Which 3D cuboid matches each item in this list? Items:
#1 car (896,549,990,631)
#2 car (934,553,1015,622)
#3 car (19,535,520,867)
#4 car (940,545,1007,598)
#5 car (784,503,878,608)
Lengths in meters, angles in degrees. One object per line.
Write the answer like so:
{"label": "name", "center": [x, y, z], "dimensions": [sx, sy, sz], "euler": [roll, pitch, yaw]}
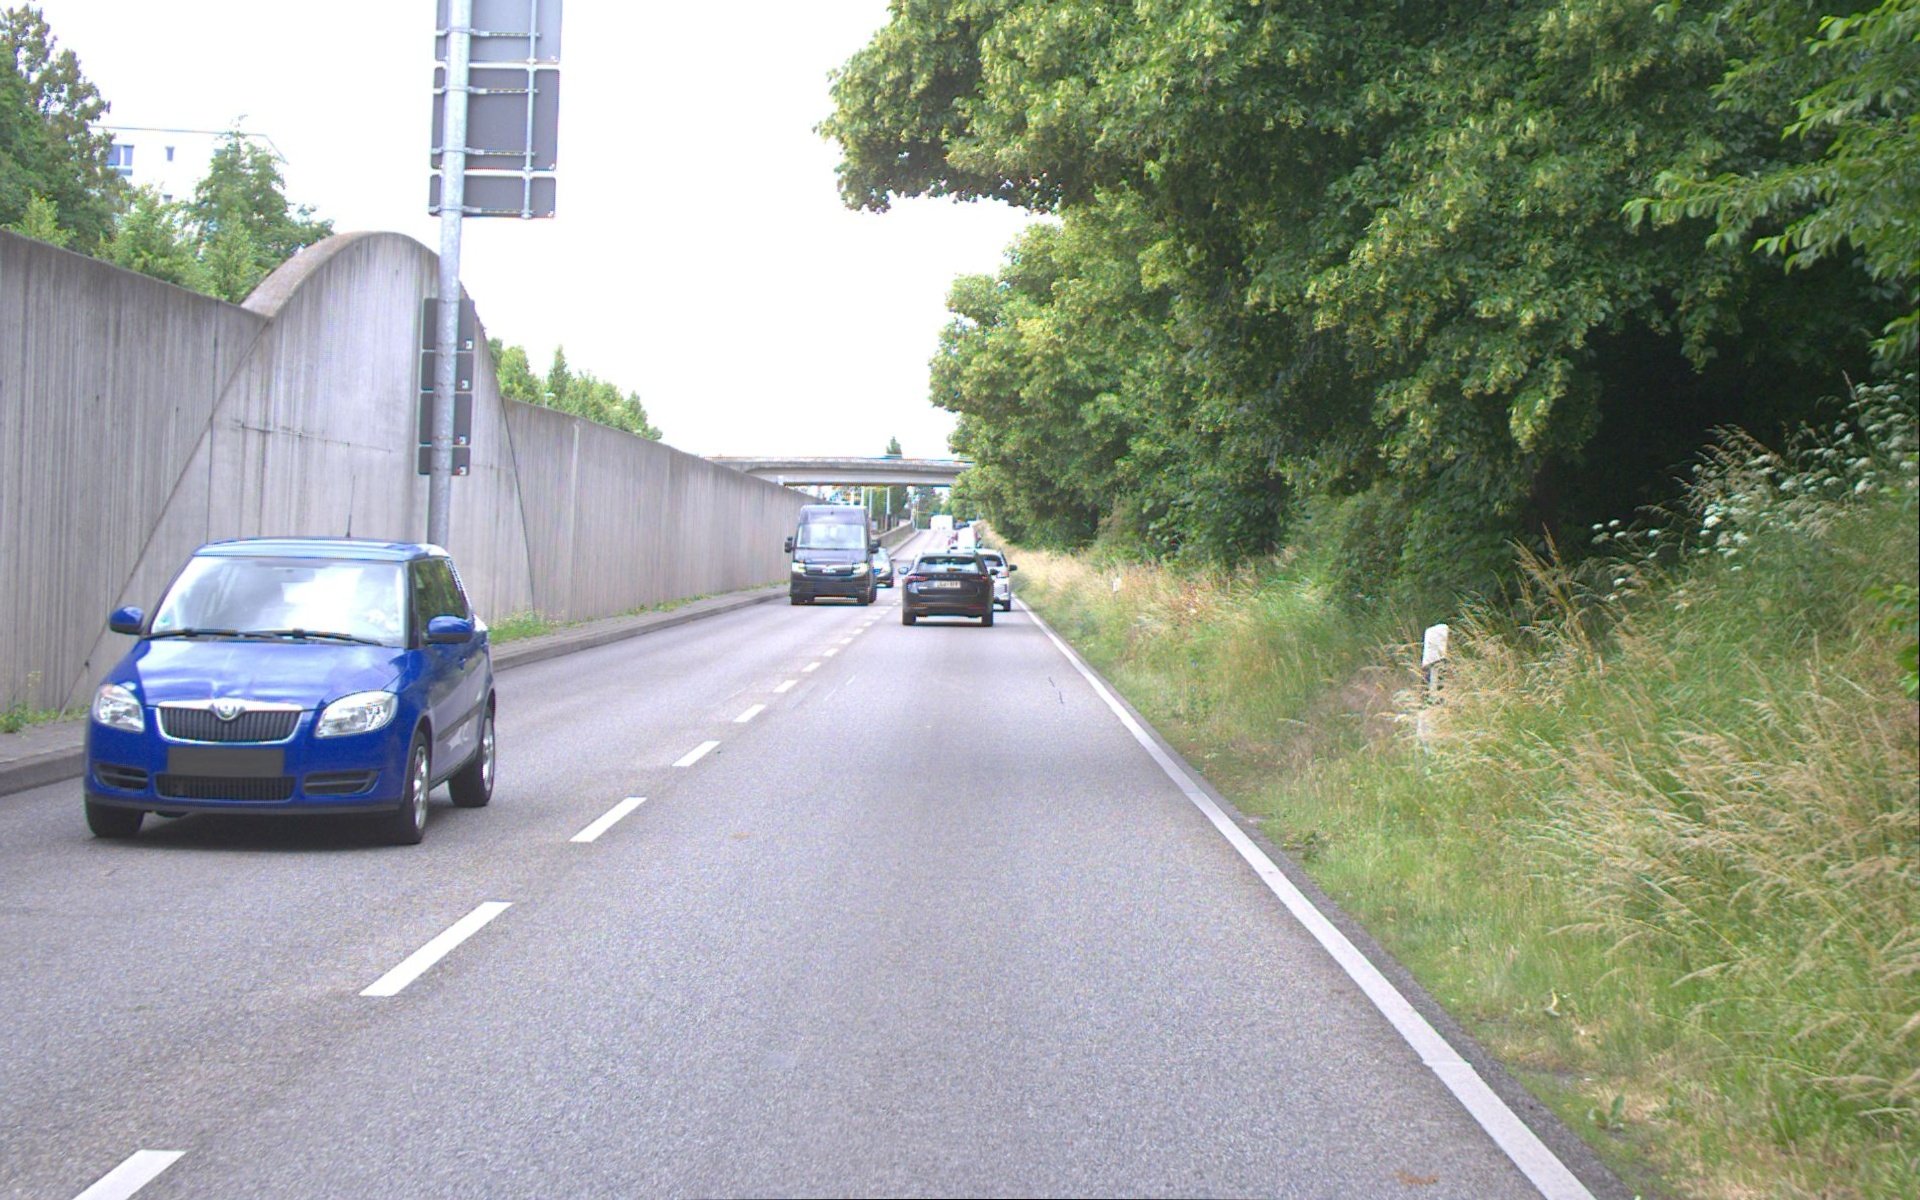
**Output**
{"label": "car", "center": [-0.362, -0.207, 66.983], "dimensions": [1.754, 1.518, 4.037], "euler": [-1, 0, -1]}
{"label": "car", "center": [0.319, -0.282, 83.319], "dimensions": [1.754, 1.518, 4.036], "euler": [-2, -1, -2]}
{"label": "car", "center": [-3.474, 0.431, 18.056], "dimensions": [1.767, 1.490, 4.208], "euler": [1, 1, 0]}
{"label": "car", "center": [0.395, -0.907, 106.639], "dimensions": [1.866, 1.485, 4.257], "euler": [4, 1, -2]}
{"label": "car", "center": [-3.339, -1.169, 90.108], "dimensions": [2.110, 2.621, 7.417], "euler": [1, 1, 0]}
